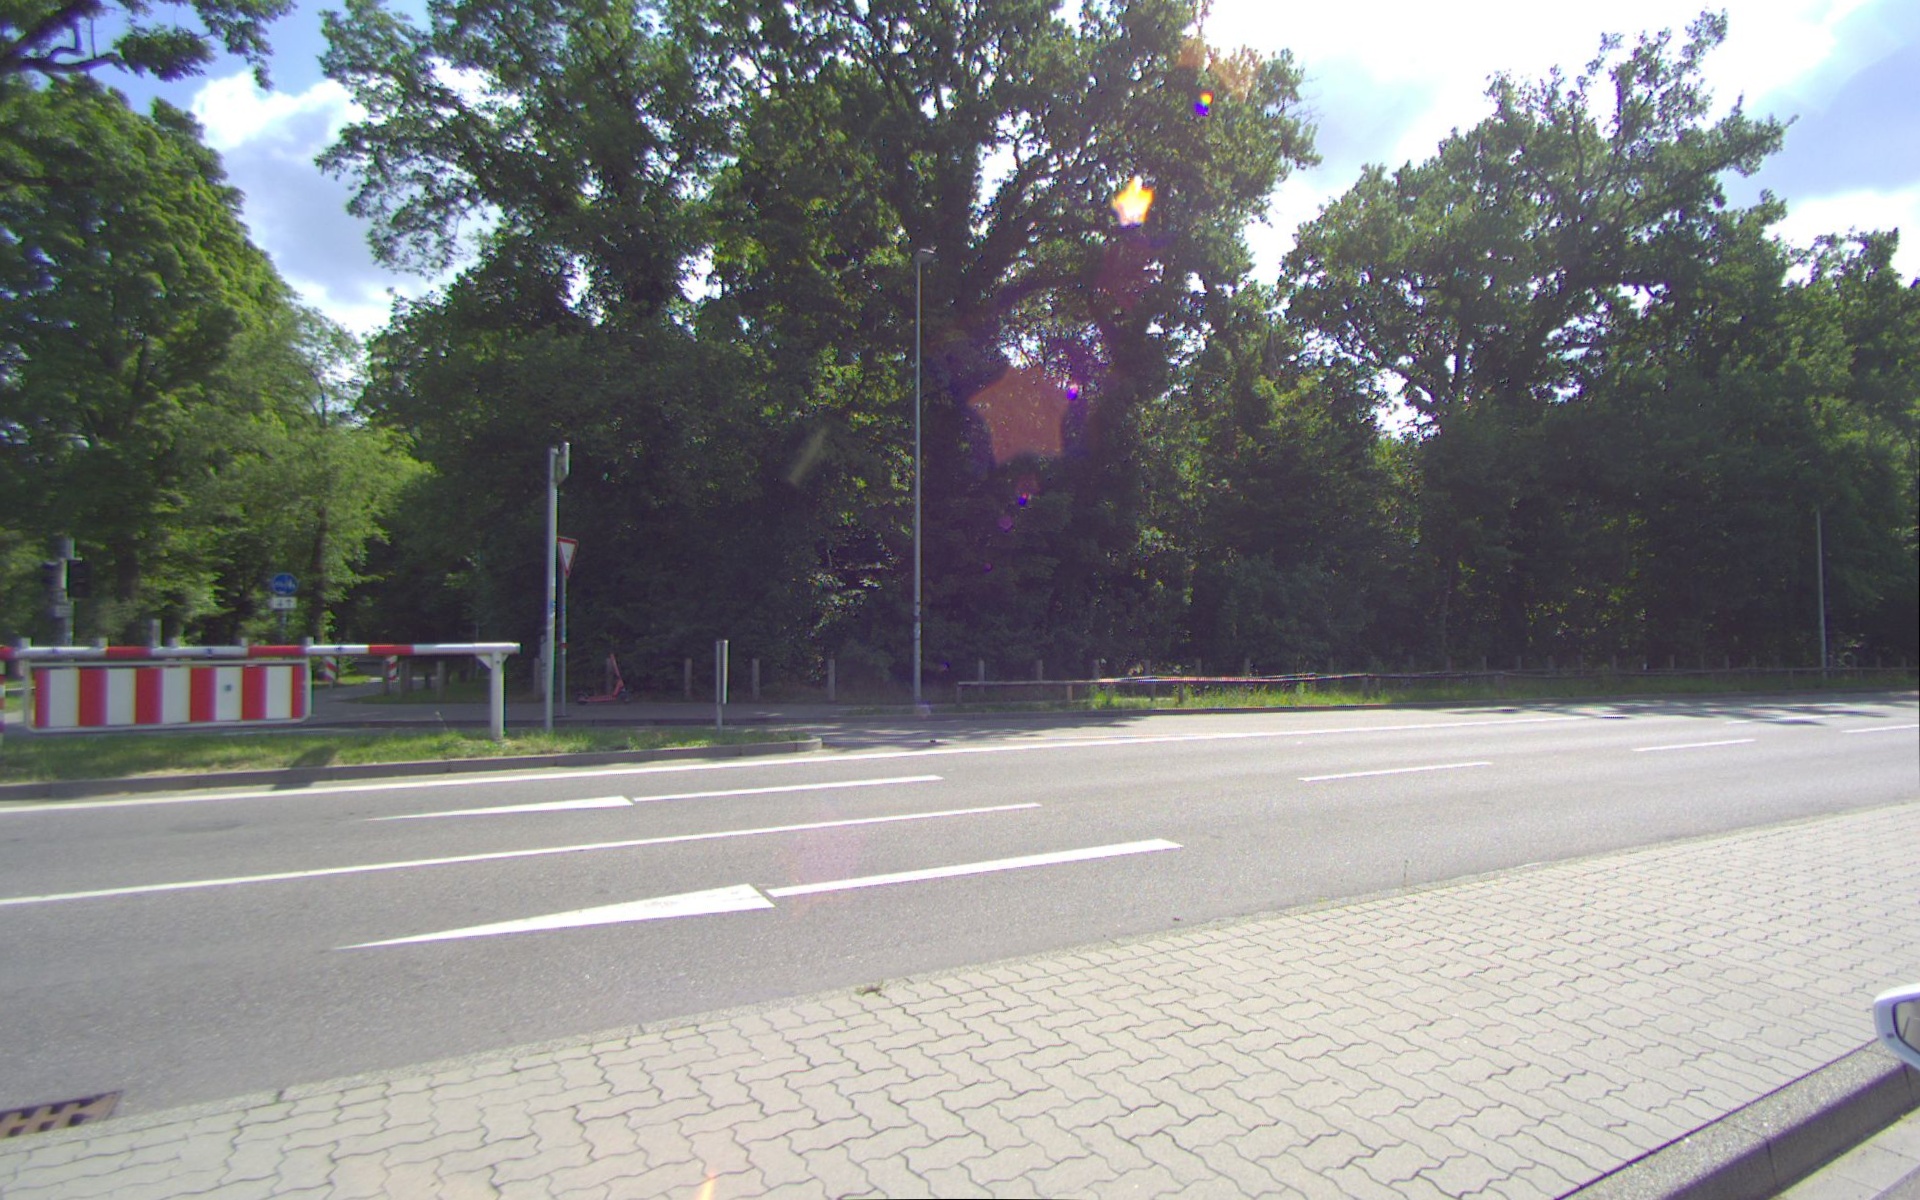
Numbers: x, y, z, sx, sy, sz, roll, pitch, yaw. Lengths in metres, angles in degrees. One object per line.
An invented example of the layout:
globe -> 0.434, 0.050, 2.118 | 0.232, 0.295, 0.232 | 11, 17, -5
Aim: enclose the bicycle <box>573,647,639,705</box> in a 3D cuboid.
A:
bicycle -> -7.407, 1.581, 21.041 | 1.207, 1.188, 0.420 | 1, -1, -8
